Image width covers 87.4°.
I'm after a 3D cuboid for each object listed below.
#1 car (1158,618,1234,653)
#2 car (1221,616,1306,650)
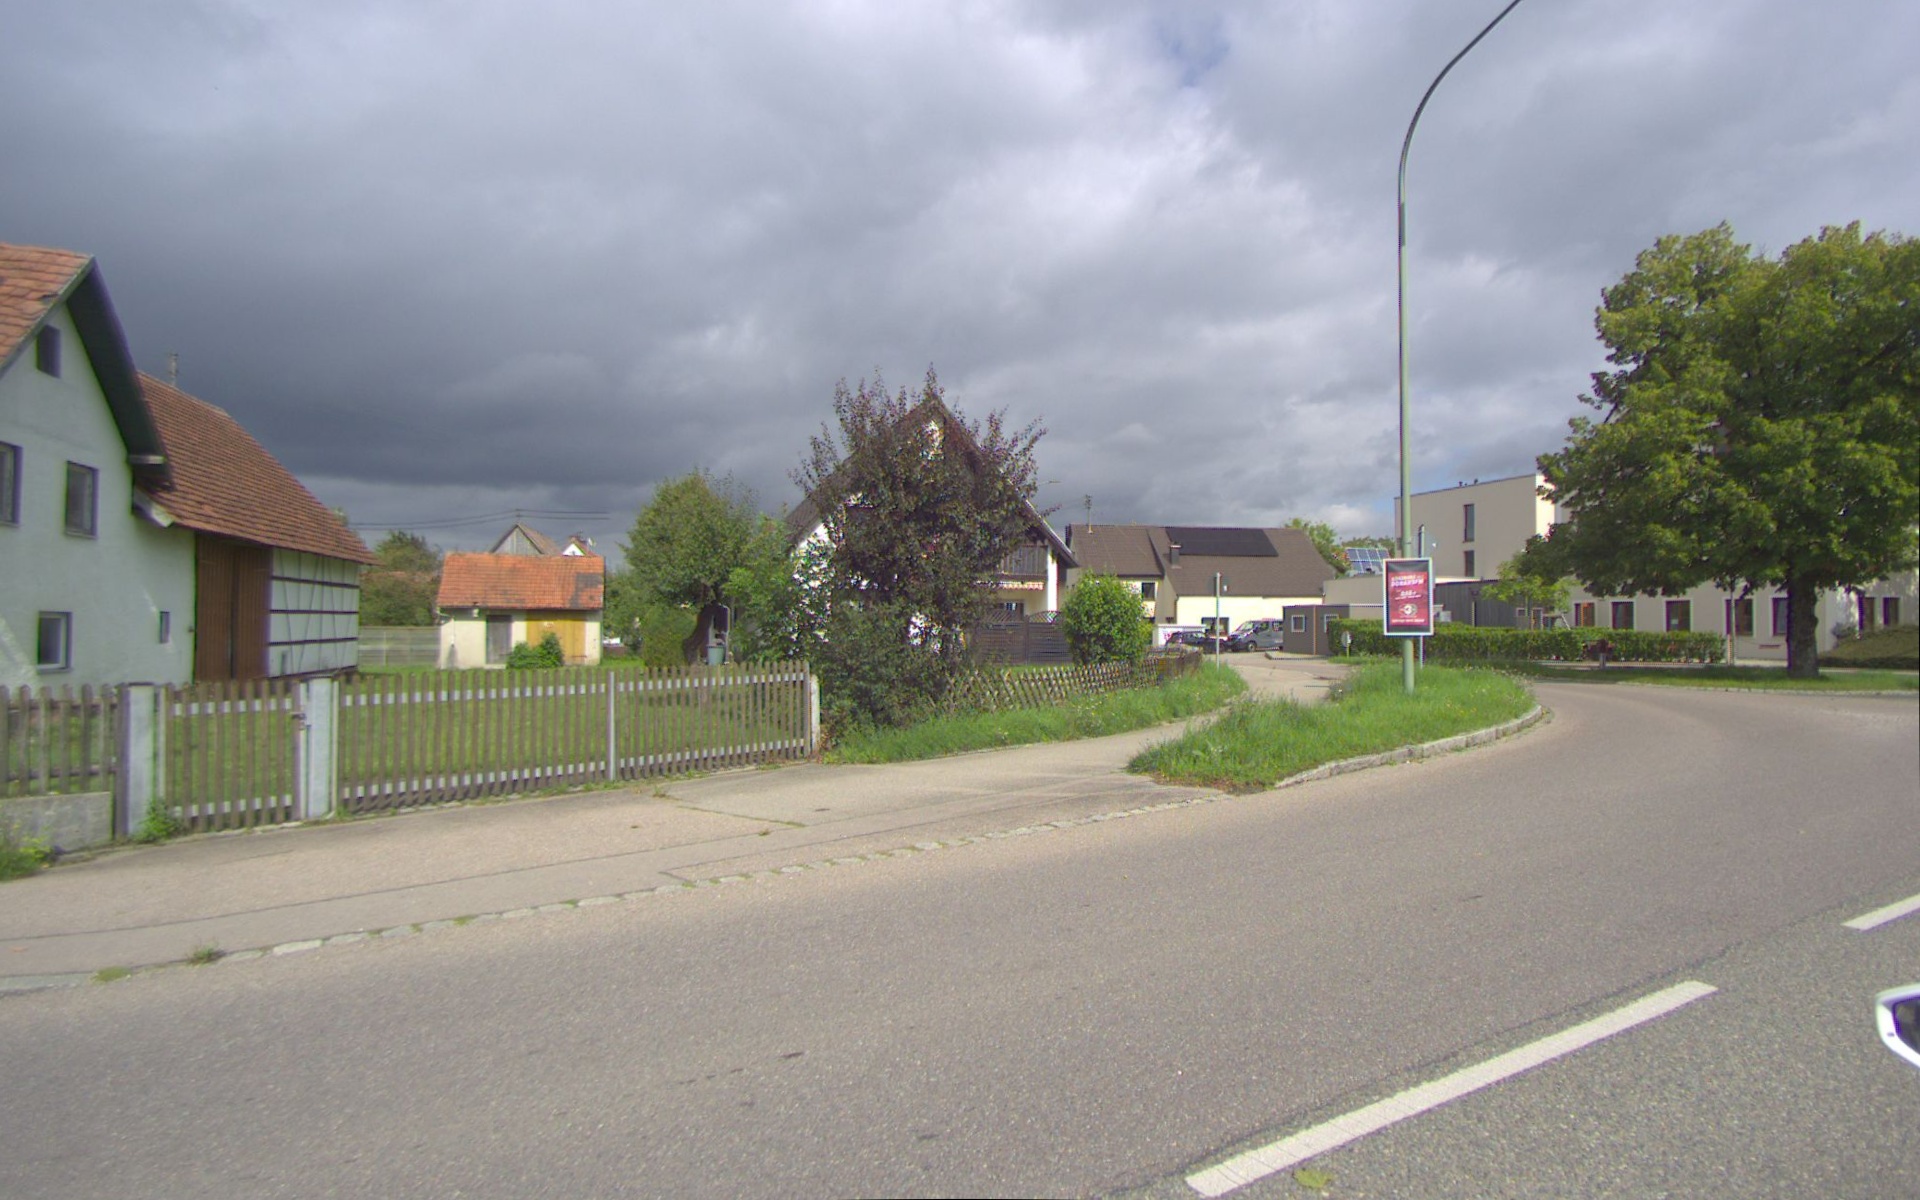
[{"bbox_3d":[14.402,2.158,61.303,4.135,2.040,1.991,1,-1,-20],"label":"car"},{"bbox_3d":[18.828,2.046,62.359,4.824,2.040,1.992,1,-1,-20],"label":"car"}]
